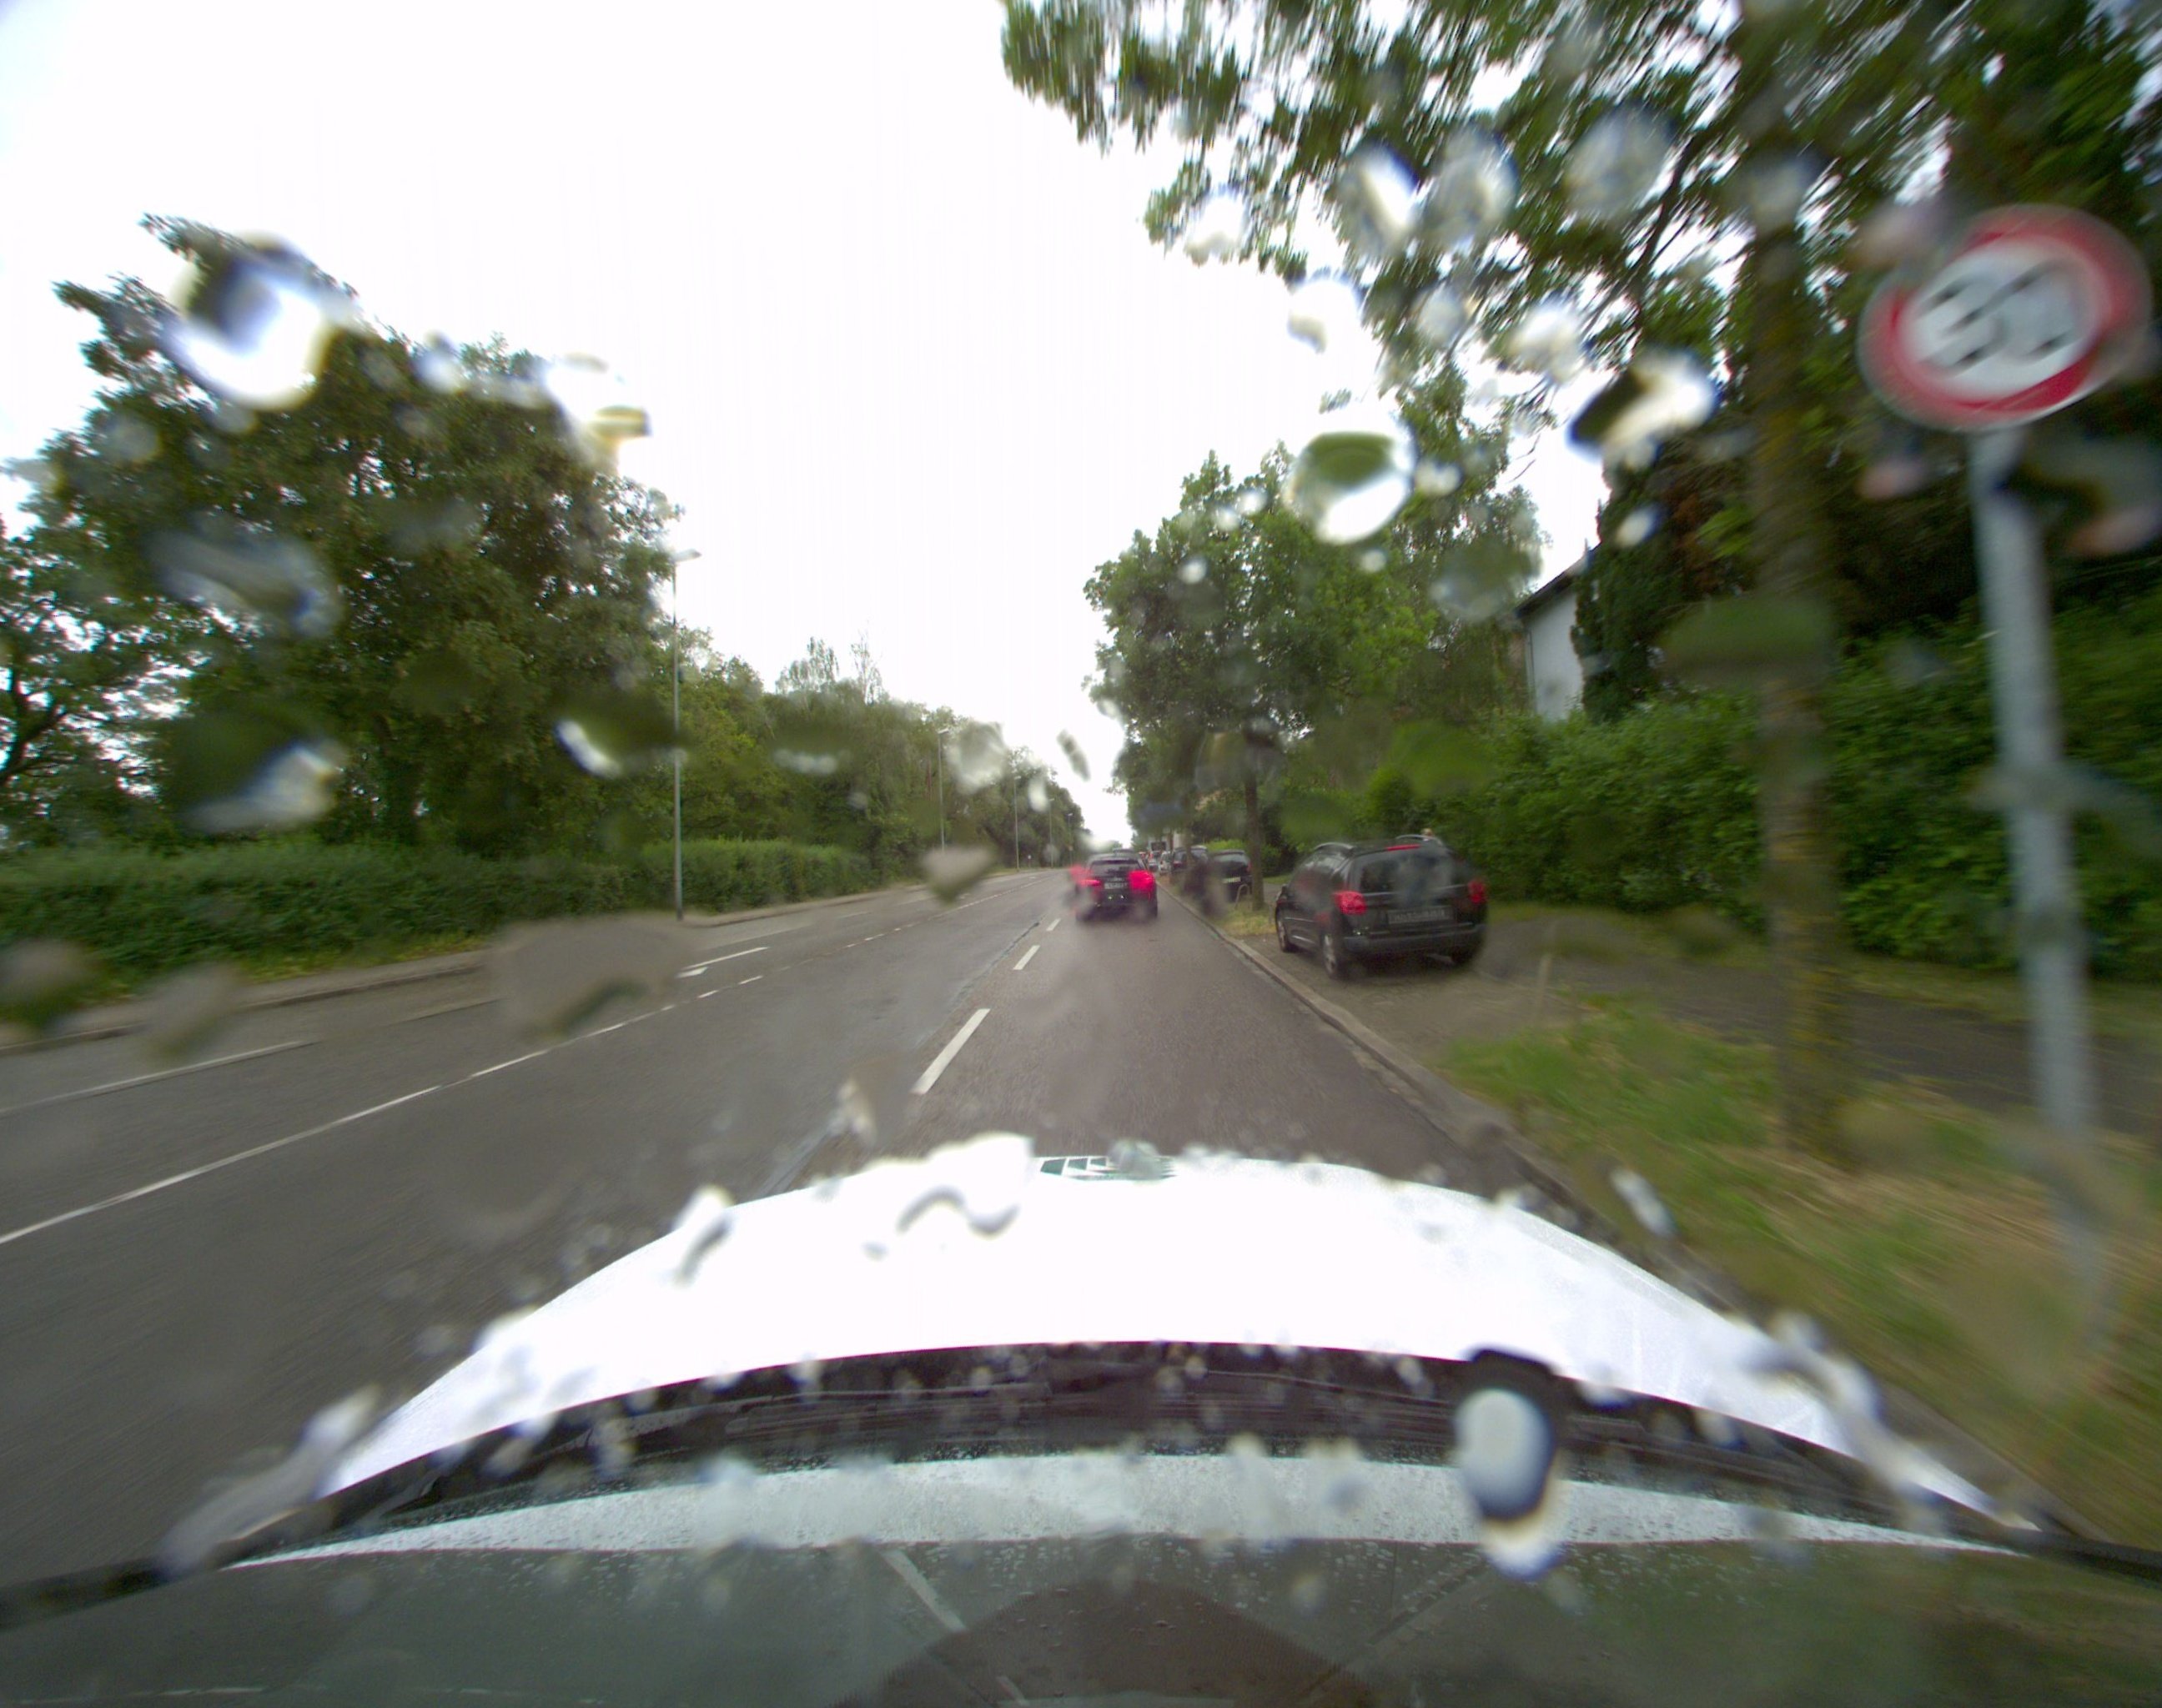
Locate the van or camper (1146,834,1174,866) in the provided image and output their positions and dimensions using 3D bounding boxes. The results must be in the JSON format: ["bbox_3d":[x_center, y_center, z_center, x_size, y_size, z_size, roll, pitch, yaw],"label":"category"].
[{"bbox_3d":[7.174,-0.364,74.419,2.187,2.651,7.311,-4,0,5],"label":"van or camper"}]

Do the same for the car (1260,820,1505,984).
[{"bbox_3d":[3.570,0.480,10.453,1.636,1.595,4.015,-4,0,1],"label":"car"}]

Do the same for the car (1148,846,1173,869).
[{"bbox_3d":[6.139,0.277,62.609,1.660,1.528,3.839,-6,-1,6],"label":"car"}]

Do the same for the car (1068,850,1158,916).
[{"bbox_3d":[0.781,0.662,19.954,1.986,1.453,4.002,0,-1,2],"label":"car"}]

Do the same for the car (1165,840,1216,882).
[{"bbox_3d":[4.886,0.291,36.899,1.816,1.677,4.588,-4,0,3],"label":"car"}]

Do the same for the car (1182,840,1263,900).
[{"bbox_3d":[4.083,0.429,24.022,1.716,1.512,3.787,-4,0,1],"label":"car"}]

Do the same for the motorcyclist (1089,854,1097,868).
[{"bbox_3d":[1.474,0.829,99.103,0.814,1.681,0.646,-1,0,-22],"label":"motorcyclist"}]

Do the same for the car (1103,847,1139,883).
[{"bbox_3d":[2.490,0.669,49.679,1.984,2.014,4.005,-2,-1,4],"label":"car"}]

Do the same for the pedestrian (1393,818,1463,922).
[{"bbox_3d":[5.973,0.268,14.058,0.714,1.679,0.894,-4,0,-1],"label":"pedestrian"}]

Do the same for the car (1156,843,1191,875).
[{"bbox_3d":[5.413,0.262,47.533,1.814,1.602,4.482,-4,0,7],"label":"car"}]

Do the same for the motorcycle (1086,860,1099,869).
[{"bbox_3d":[1.439,1.254,99.140,0.824,1.118,2.173,-1,0,-22],"label":"motorcycle"}]
